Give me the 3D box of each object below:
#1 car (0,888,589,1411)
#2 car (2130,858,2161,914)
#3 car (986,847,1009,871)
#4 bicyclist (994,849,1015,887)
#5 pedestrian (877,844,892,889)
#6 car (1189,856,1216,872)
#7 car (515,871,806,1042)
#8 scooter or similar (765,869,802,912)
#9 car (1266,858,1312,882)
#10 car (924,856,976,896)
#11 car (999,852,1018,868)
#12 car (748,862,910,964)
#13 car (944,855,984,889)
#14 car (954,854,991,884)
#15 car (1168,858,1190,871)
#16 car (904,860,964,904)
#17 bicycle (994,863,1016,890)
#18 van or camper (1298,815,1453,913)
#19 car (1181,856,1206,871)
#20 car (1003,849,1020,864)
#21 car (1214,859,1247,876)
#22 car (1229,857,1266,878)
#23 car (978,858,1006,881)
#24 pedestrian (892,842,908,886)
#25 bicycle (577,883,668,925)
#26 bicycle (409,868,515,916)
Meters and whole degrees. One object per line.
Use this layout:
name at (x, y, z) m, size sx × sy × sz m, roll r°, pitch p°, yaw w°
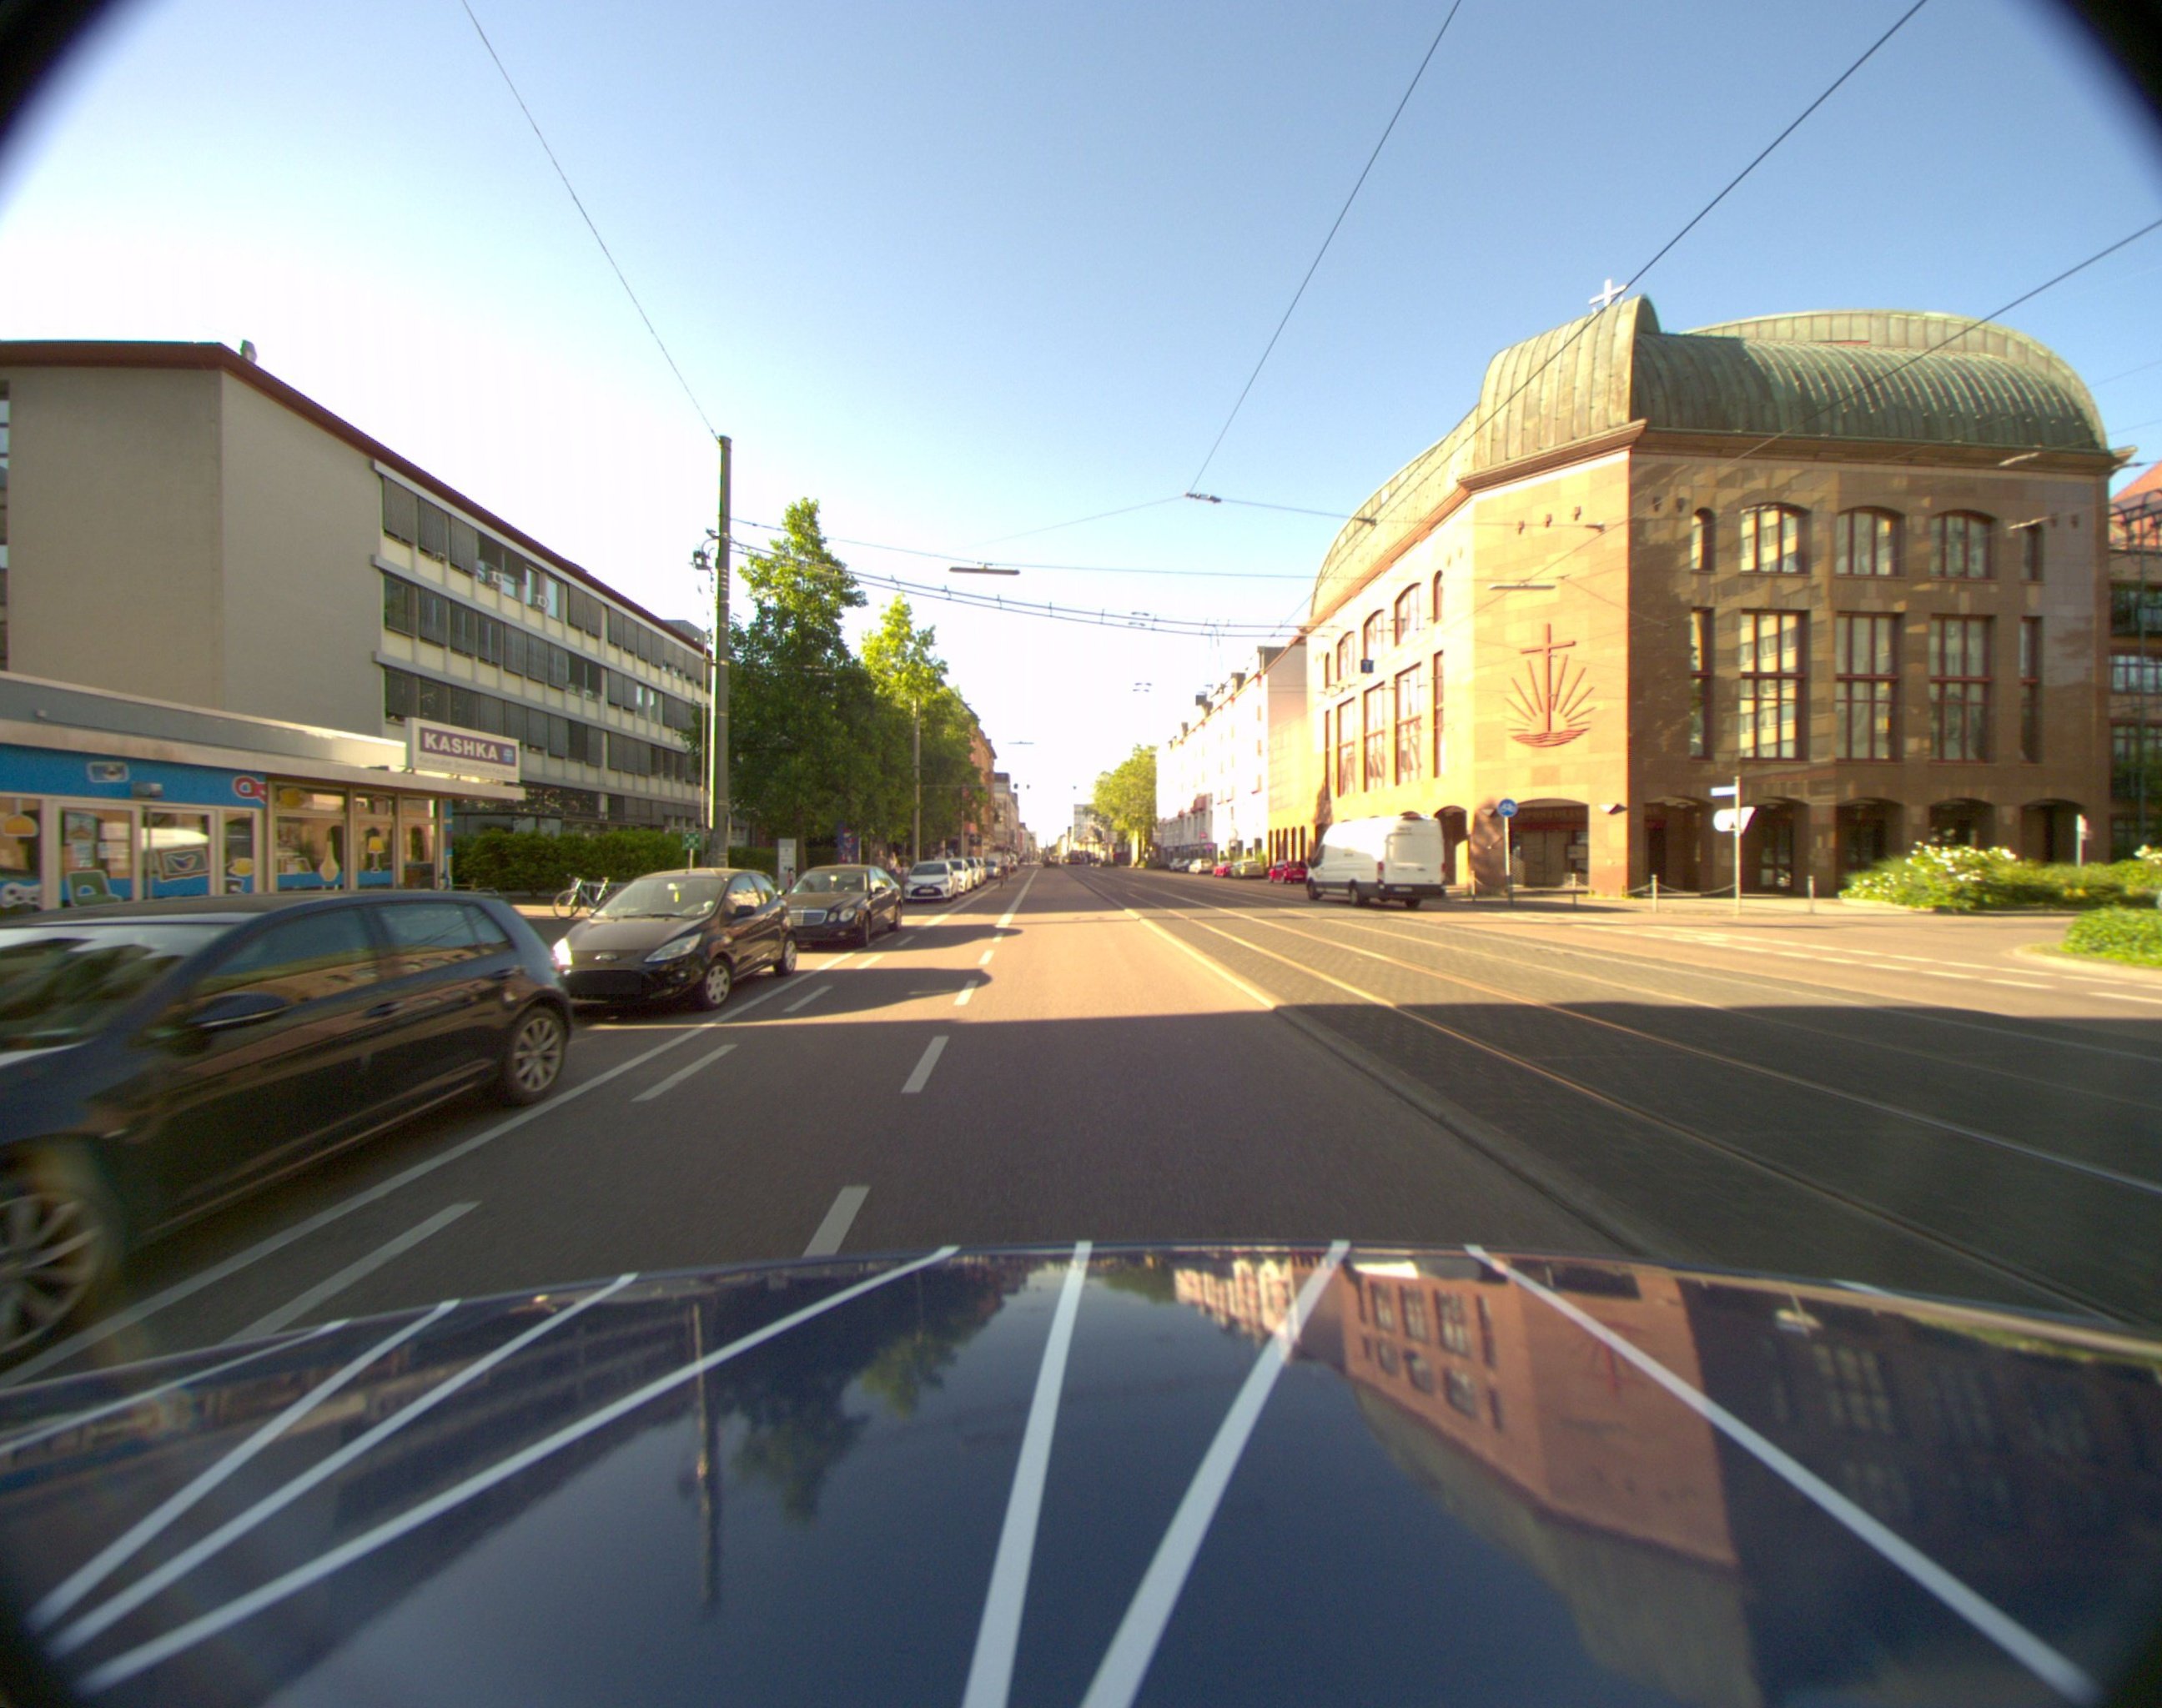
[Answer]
car at (-4.321, 1.034, 3.305) m, size 1.703 × 1.474 × 4.225 m, roll -2°, pitch 1°, yaw -3°
car at (31.606, 0.899, 20.412) m, size 4.273 × 1.521 × 1.999 m, roll 0°, pitch 0°, yaw -3°
car at (-7.647, 0.450, 69.971) m, size 1.733 × 2.038 × 4.113 m, roll -2°, pitch 2°, yaw -3°
bicyclist at (-3.682, 0.678, 36.717) m, size 0.895 × 1.755 × 1.029 m, roll -2°, pitch 2°, yaw -2°
pedestrian at (-8.930, 0.554, 34.555) m, size 0.508 × 2.002 × 0.574 m, roll -2°, pitch 2°, yaw -2°
car at (11.778, 0.984, 74.011) m, size 1.856 × 1.445 × 3.852 m, roll -1°, pitch 0°, yaw -2°
car at (-4.663, 1.021, 9.063) m, size 1.575 × 1.474 × 3.556 m, roll -2°, pitch 1°, yaw -3°
scooter or similar at (-9.064, 1.096, 23.205) m, size 0.582 × 1.202 × 1.313 m, roll 3°, pitch 1°, yaw -1°
car at (13.105, 0.981, 48.087) m, size 1.754 × 1.445 × 3.470 m, roll -1°, pitch 0°, yaw -4°
car at (-5.719, 0.930, 33.702) m, size 1.733 × 1.568 × 4.114 m, roll -2°, pitch 1°, yaw -3°
car at (-7.640, 0.613, 79.938) m, size 1.733 × 1.475 × 4.251 m, roll -2°, pitch 2°, yaw -3°
car at (-4.742, 1.009, 15.107) m, size 1.733 × 1.474 × 4.926 m, roll -2°, pitch 2°, yaw -3°
car at (-6.001, 0.886, 39.337) m, size 1.734 × 1.586 × 4.113 m, roll -2°, pitch 1°, yaw -5°
car at (-6.257, 0.830, 44.141) m, size 1.733 × 1.542 × 4.113 m, roll -2°, pitch 2°, yaw -3°
car at (11.093, 1.179, 86.230) m, size 1.856 × 1.445 × 3.852 m, roll -1°, pitch 0°, yaw -2°
car at (-5.464, 0.991, 28.617) m, size 1.734 × 1.474 × 3.862 m, roll -2°, pitch 0°, yaw -4°
bicycle at (-3.655, 1.063, 36.794) m, size 0.889 × 1.155 × 2.077 m, roll -2°, pitch 1°, yaw -2°
van or camper at (9.297, 0.288, 24.893) m, size 2.042 × 2.723 × 7.018 m, roll 1°, pitch 0°, yaw -3°
car at (11.621, 0.963, 78.864) m, size 1.856 × 1.445 × 3.852 m, roll -1°, pitch 0°, yaw -2°
car at (-7.867, 0.244, 85.960) m, size 1.733 × 1.475 × 4.113 m, roll -2°, pitch 2°, yaw -3°
car at (12.269, 1.083, 62.652) m, size 1.856 × 1.346 × 3.852 m, roll -1°, pitch 0°, yaw -2°
car at (12.622, 0.997, 57.733) m, size 1.856 × 1.445 × 3.852 m, roll -1°, pitch 0°, yaw -2°
car at (-6.557, 1.102, 56.287) m, size 1.733 × 1.475 × 4.113 m, roll -2°, pitch 2°, yaw -3°
pedestrian at (-8.242, 0.454, 34.572) m, size 0.508 × 2.002 × 0.574 m, roll -2°, pitch 2°, yaw -2°
bicycle at (-10.691, 1.168, 17.741) m, size 1.814 × 0.917 × 0.406 m, roll 2°, pitch 1°, yaw -5°
bicycle at (-13.593, 0.835, 16.717) m, size 1.807 × 0.960 × 0.572 m, roll 2°, pitch 1°, yaw -2°
